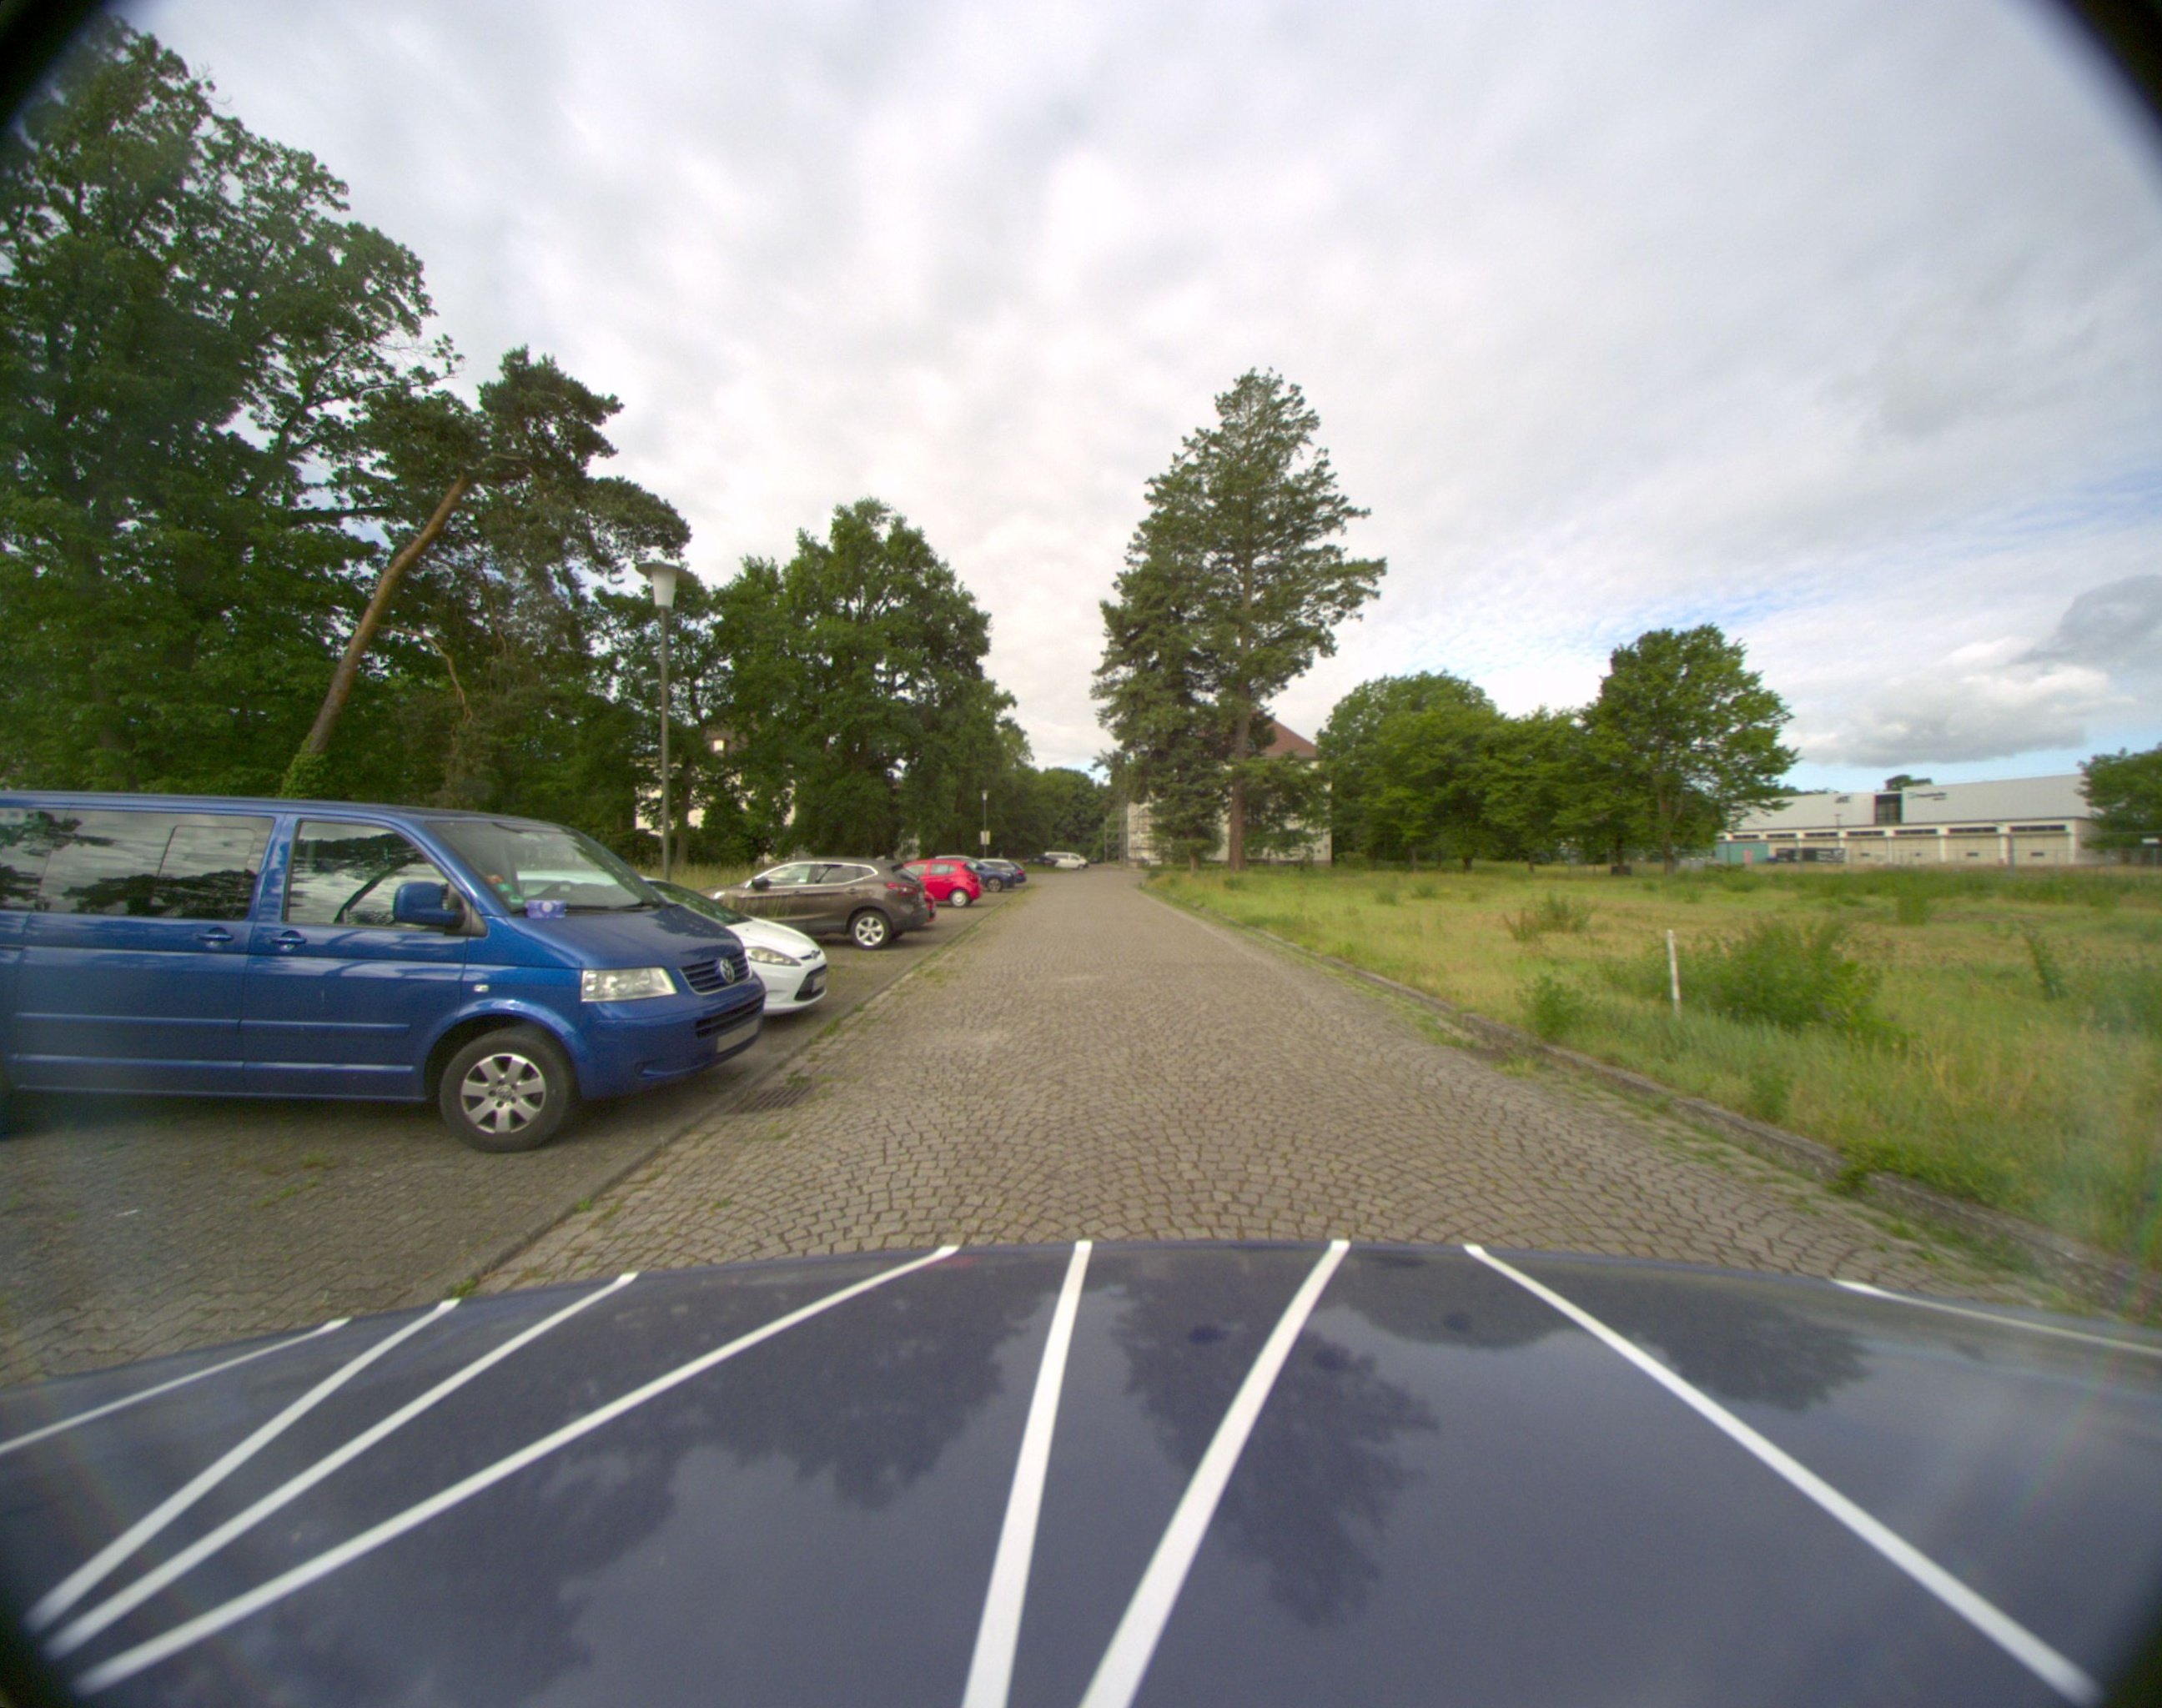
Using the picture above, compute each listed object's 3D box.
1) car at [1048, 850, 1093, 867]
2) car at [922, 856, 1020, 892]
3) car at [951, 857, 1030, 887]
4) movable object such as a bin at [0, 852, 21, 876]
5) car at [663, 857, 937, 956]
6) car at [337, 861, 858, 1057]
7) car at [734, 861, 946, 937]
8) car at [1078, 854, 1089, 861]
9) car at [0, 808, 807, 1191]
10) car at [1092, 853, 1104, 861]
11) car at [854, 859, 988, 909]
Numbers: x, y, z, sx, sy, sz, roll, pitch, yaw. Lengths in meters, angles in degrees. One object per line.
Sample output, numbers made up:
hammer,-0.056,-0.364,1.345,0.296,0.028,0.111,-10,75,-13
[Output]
car,-1.265,0.472,87.787,5.141,1.860,1.723,1,0,-2
car,-4.910,0.895,34.293,4.150,1.529,1.582,1,0,-2
car,-4.593,0.920,38.956,3.878,1.417,1.582,1,0,-2
movable object such as a bin,-90.727,0.826,62.933,1.553,2.002,2.985,0,0,0
car,-4.917,0.895,13.774,4.271,1.589,1.821,1,0,-2
car,-4.448,0.928,7.509,3.873,1.463,1.841,4,0,-2
car,-5.107,0.932,16.500,4.016,1.477,1.765,1,0,0
car,0.497,0.642,154.219,1.870,1.408,4.694,2,0,-5
car,-4.573,0.756,4.941,4.820,1.934,2.003,2,0,-2
car,3.379,0.591,154.790,1.870,1.408,4.694,2,0,-5
car,-4.987,0.934,24.051,3.895,1.451,1.582,1,0,-2
